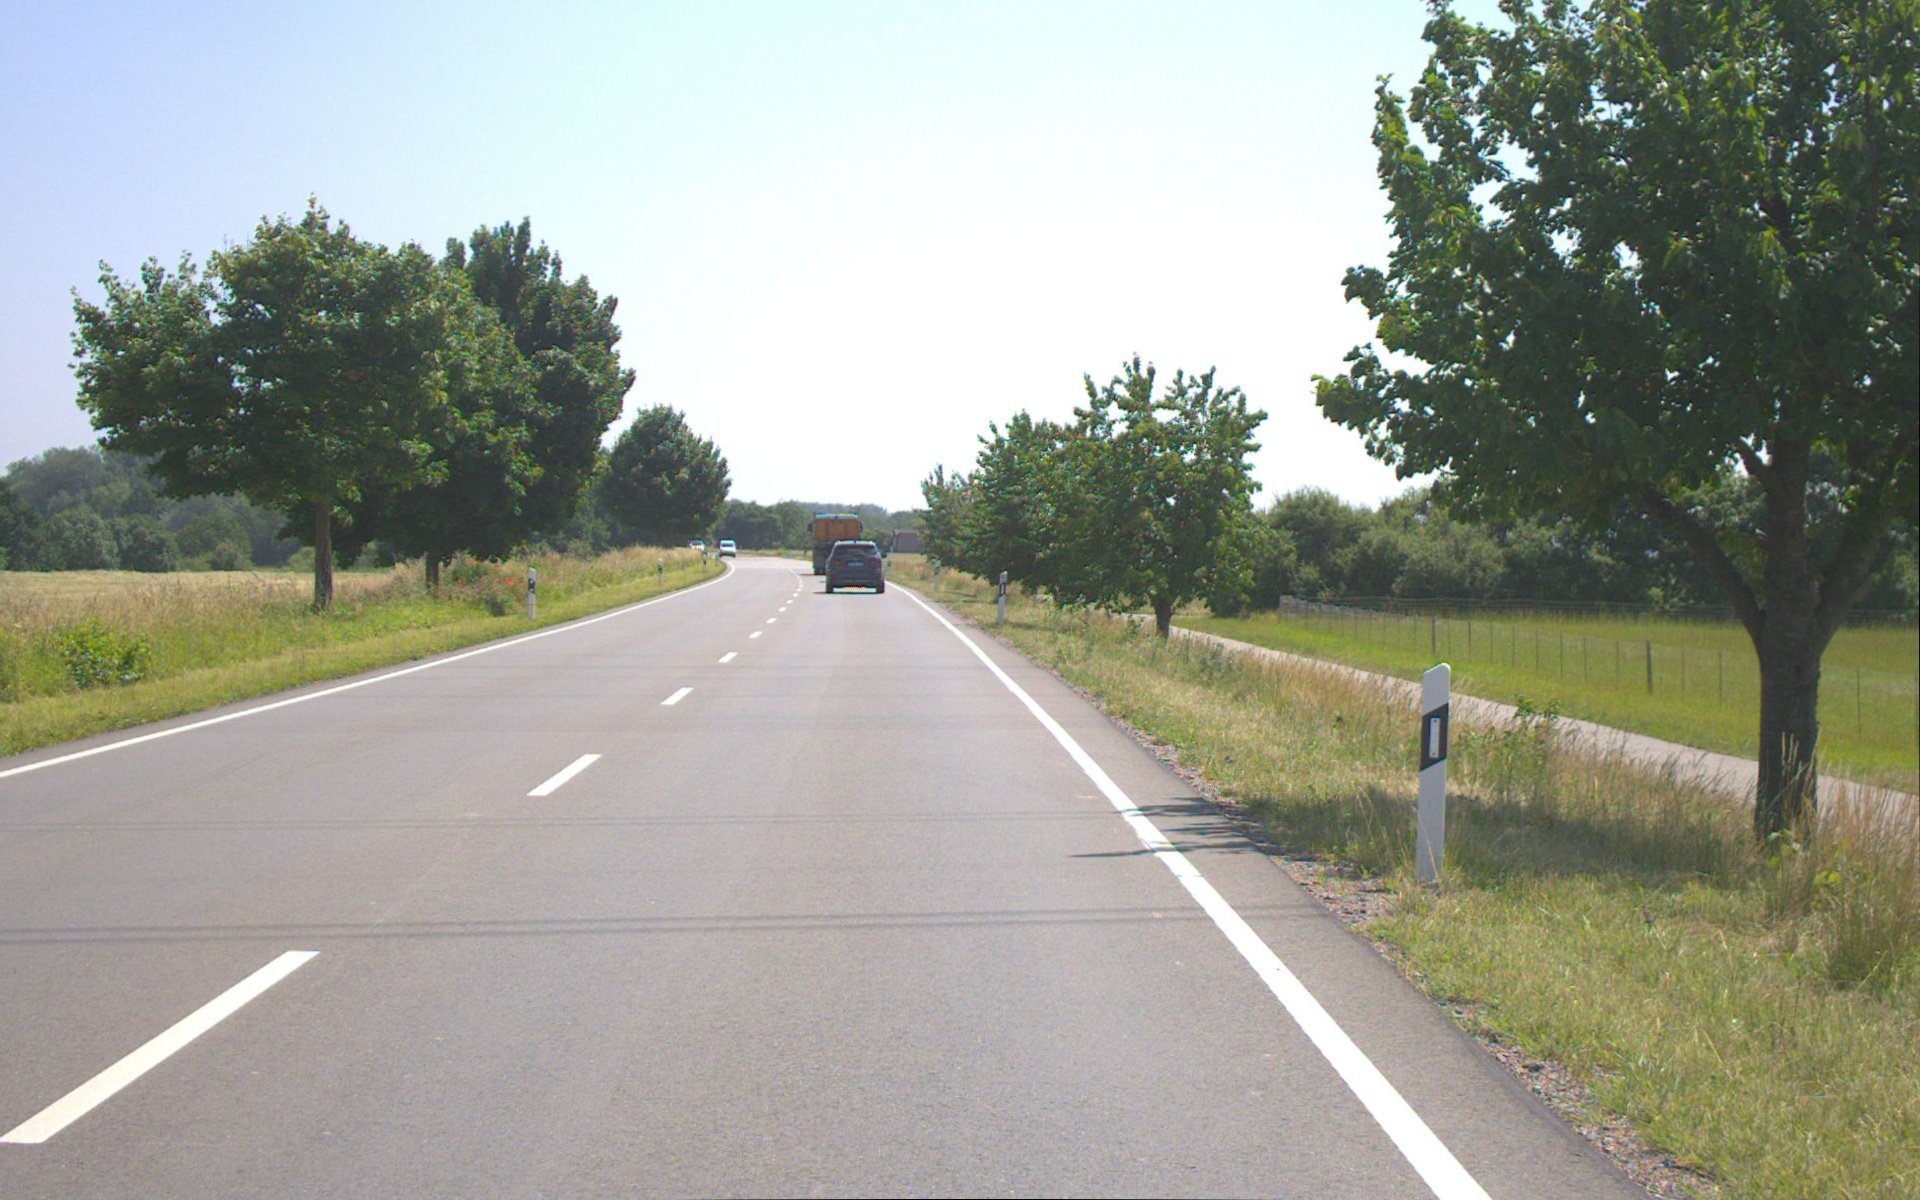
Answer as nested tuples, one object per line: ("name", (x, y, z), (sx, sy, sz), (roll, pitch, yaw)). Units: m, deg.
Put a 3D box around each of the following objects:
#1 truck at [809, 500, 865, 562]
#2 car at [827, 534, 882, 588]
("truck", (-6.504, -3.573, 180.367), (2.370, 3.129, 8.749), (1, 1, -5))
("car", (-3.397, -1.249, 110.807), (1.714, 1.688, 3.989), (1, 1, -1))
